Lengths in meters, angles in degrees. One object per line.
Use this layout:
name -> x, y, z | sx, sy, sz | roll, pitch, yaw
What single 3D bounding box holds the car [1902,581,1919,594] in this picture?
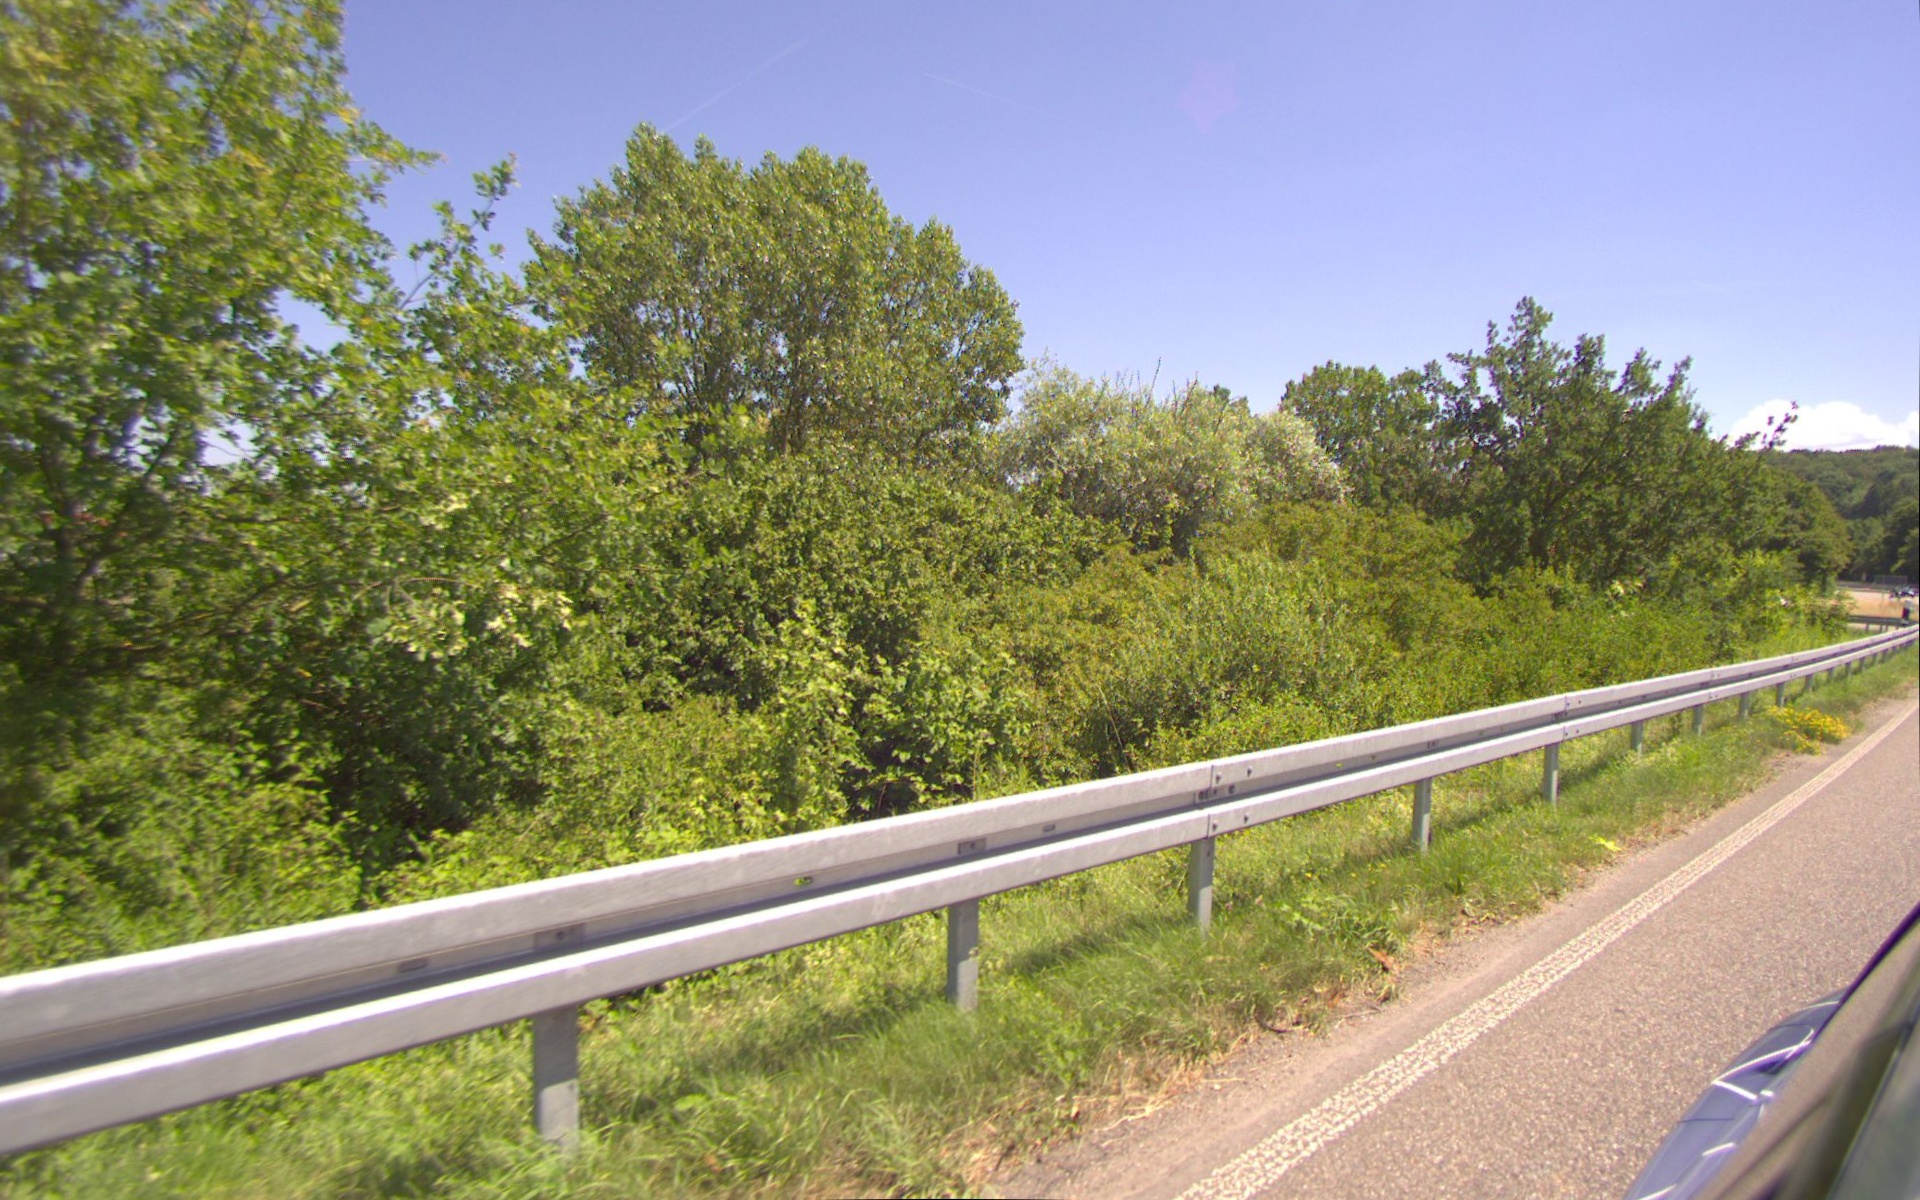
car -> 125.758, -1.648, 133.555 | 1.869, 1.623, 3.941 | 3, 3, 41
